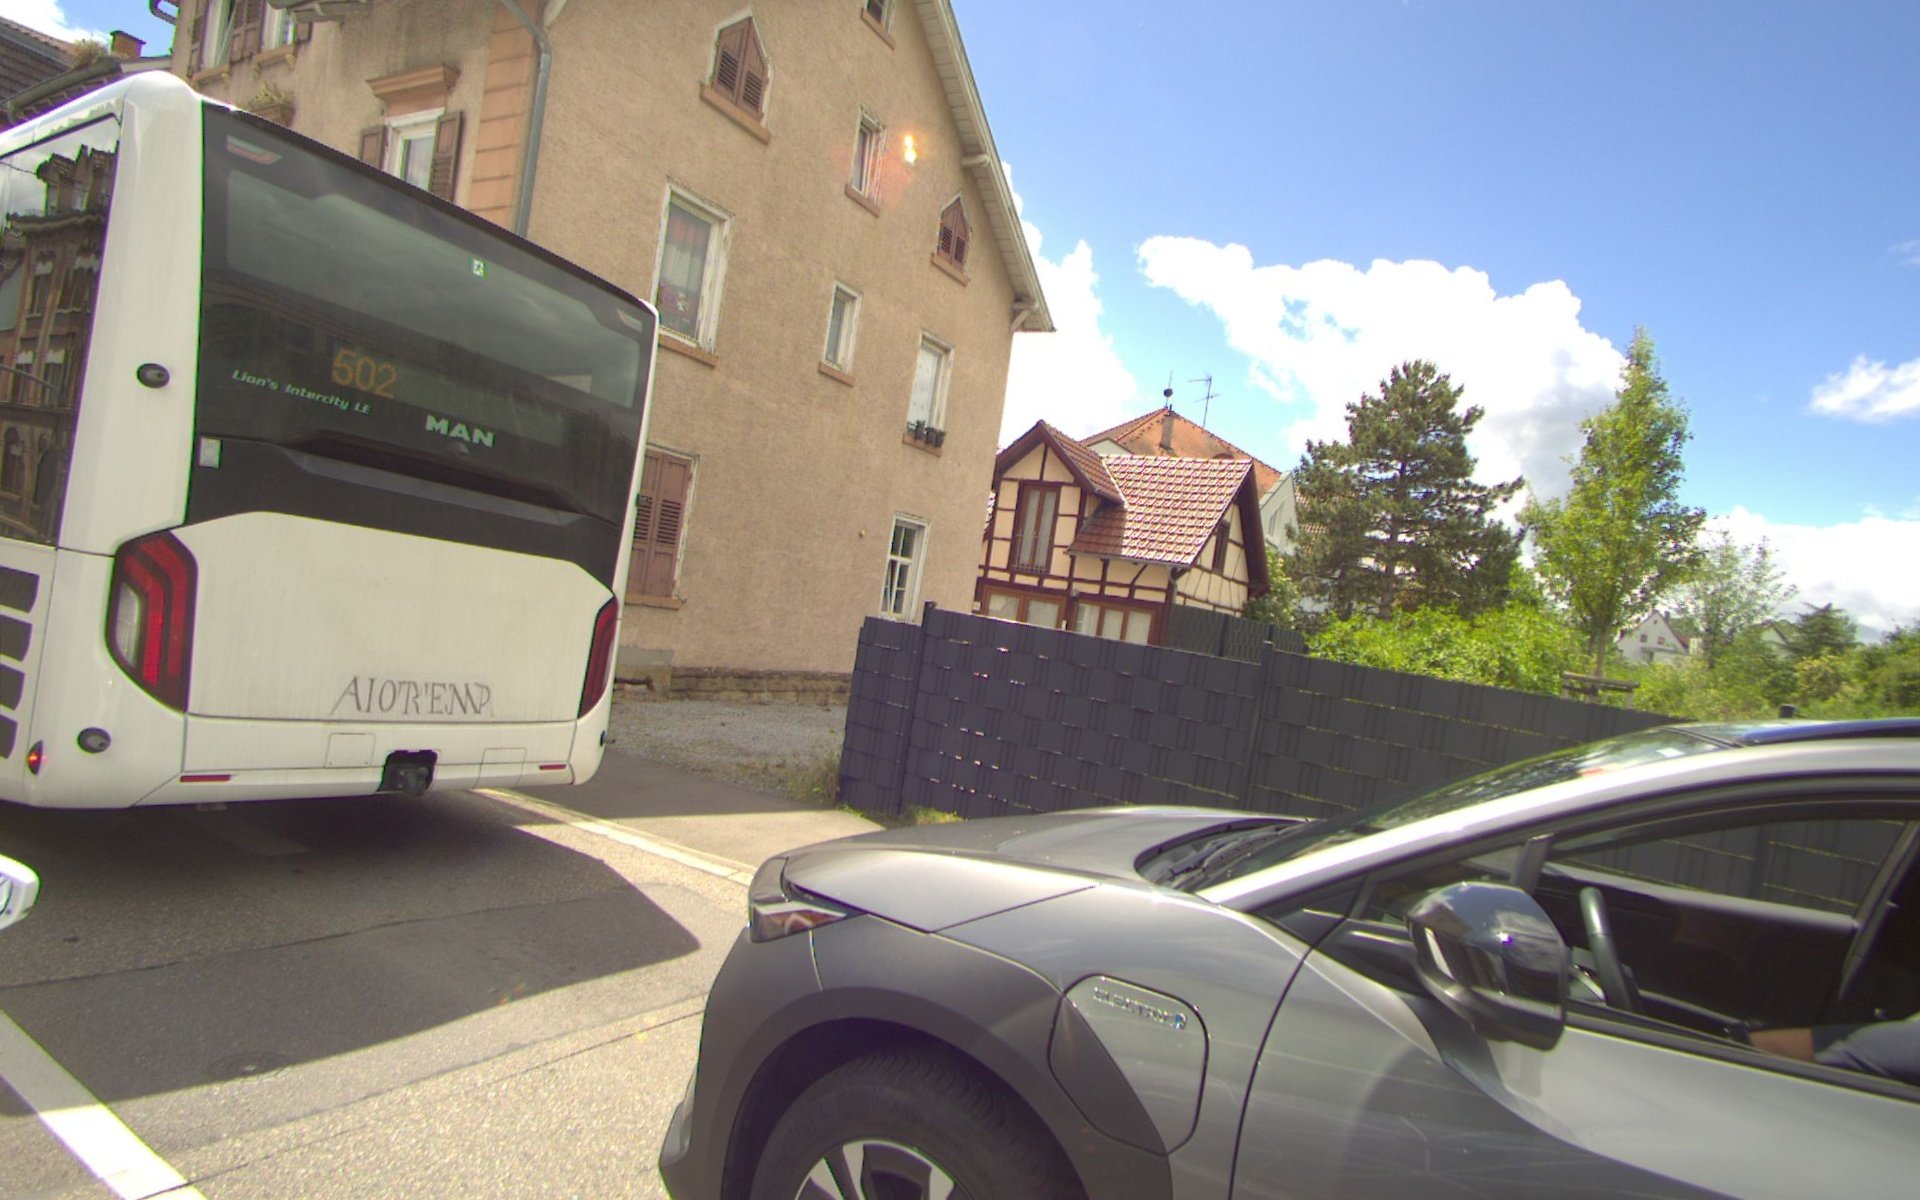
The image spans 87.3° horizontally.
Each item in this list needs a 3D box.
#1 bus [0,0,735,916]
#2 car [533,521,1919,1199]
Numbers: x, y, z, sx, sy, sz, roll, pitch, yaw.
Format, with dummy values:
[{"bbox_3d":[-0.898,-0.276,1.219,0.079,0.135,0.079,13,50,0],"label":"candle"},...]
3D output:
[{"bbox_3d":[-7.447,-1.128,7.809,12.281,3.551,2.910,6,-2,32],"label":"bus"},{"bbox_3d":[1.583,0.961,1.823,4.504,1.648,1.997,7,-1,31],"label":"car"}]
